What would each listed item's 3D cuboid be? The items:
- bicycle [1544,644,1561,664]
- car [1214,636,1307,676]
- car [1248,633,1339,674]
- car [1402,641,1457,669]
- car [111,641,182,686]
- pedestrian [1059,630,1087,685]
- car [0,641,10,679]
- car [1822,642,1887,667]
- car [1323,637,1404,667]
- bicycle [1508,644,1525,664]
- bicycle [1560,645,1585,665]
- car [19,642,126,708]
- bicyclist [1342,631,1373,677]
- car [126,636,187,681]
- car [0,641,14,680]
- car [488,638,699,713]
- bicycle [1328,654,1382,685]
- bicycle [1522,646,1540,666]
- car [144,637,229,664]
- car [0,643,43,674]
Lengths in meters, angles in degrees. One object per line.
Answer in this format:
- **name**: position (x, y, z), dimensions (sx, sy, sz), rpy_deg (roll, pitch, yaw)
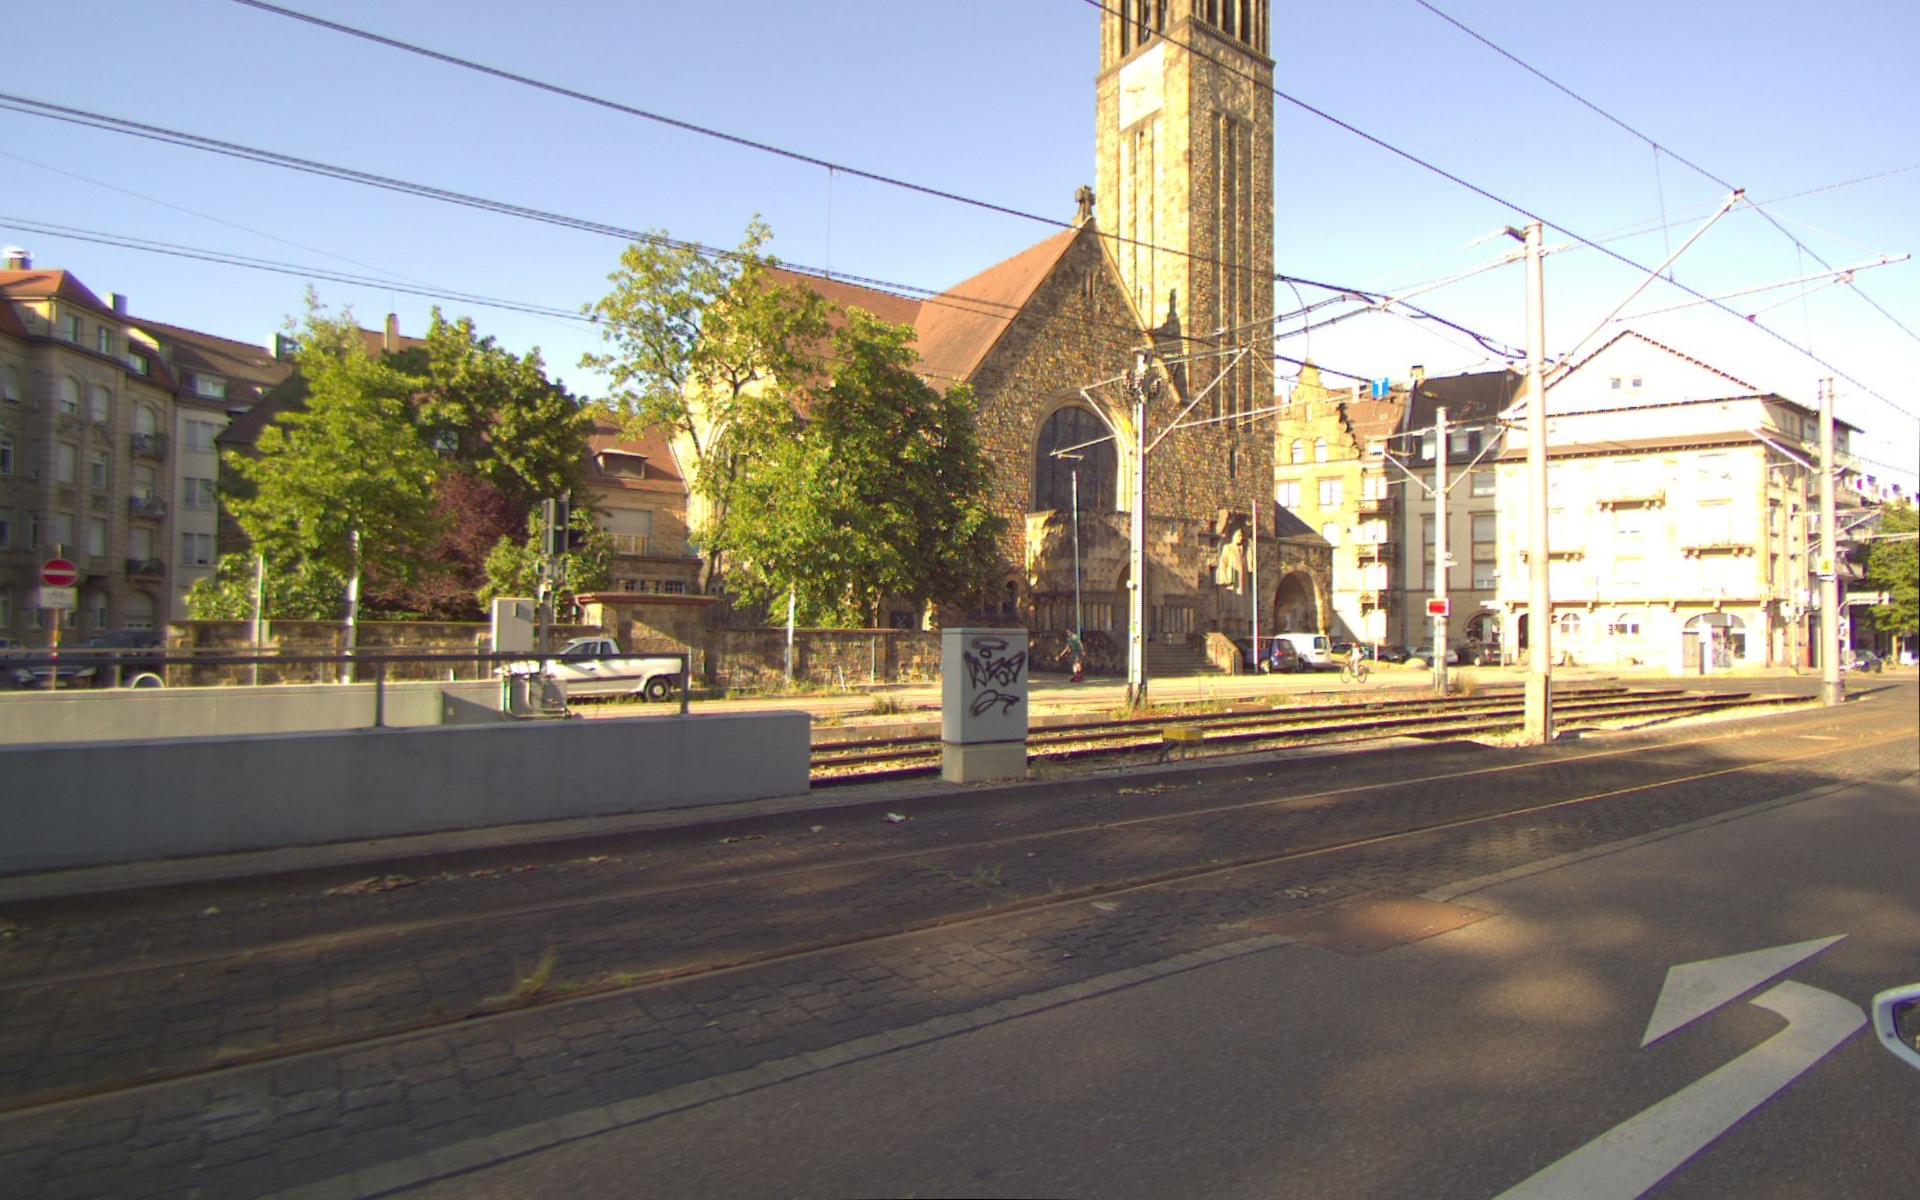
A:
- **bicycle**: position (41.760, 3.826, 70.772), dimensions (0.811, 1.300, 2.556), rpy_deg (2, 0, 36)
- **car**: position (14.155, 2.610, 47.538), dimensions (1.874, 1.651, 3.965), rpy_deg (1, 0, -32)
- **car**: position (16.348, 2.604, 49.397), dimensions (1.874, 1.780, 3.965), rpy_deg (1, 0, -32)
- **car**: position (35.083, 4.068, 75.170), dimensions (1.961, 1.776, 4.598), rpy_deg (1, 0, 0)
- **car**: position (-30.680, 2.371, 37.977), dimensions (1.802, 1.589, 3.960), rpy_deg (1, -3, -36)
- **pedestrian**: position (4.004, 2.040, 35.620), dimensions (0.748, 1.913, 0.602), rpy_deg (1, 0, -32)
- **car**: position (-40.737, 2.498, 41.358), dimensions (1.802, 1.589, 3.960), rpy_deg (1, -3, -36)
- **car**: position (56.814, 3.444, 63.788), dimensions (4.791, 1.468, 1.981), rpy_deg (2, -3, -35)
- **car**: position (27.311, 3.496, 68.027), dimensions (4.848, 1.776, 1.997), rpy_deg (1, 0, 29)
- **bicycle**: position (39.940, 3.843, 72.062), dimensions (0.808, 1.300, 2.563), rpy_deg (1, 0, 24)
- **bicycle**: position (43.034, 3.859, 70.538), dimensions (2.547, 1.300, 0.813), rpy_deg (2, 0, -44)
- **car**: position (-24.652, 2.031, 28.034), dimensions (1.802, 1.673, 3.960), rpy_deg (1, -3, -36)
- **bicyclist**: position (15.346, 2.099, 38.760), dimensions (0.904, 1.745, 0.629), rpy_deg (1, -4, -28)
- **car**: position (-34.559, 2.484, 43.270), dimensions (1.802, 1.821, 3.960), rpy_deg (1, -3, -36)
- **car**: position (-40.963, 2.516, 41.774), dimensions (1.802, 1.589, 3.960), rpy_deg (1, -3, -36)
- **car**: position (-8.694, 1.737, 23.976), dimensions (4.462, 1.576, 1.705), rpy_deg (2, 0, -34)
- **bicycle**: position (15.210, 2.670, 38.647), dimensions (2.251, 1.159, 0.629), rpy_deg (1, -4, -29)
- **bicycle**: position (40.747, 4.008, 71.679), dimensions (0.808, 1.300, 2.563), rpy_deg (1, 0, 24)
- **car**: position (-45.717, 2.993, 59.471), dimensions (1.783, 1.508, 4.002), rpy_deg (0, -3, 2)
- **car**: position (-44.212, 2.693, 46.436), dimensions (1.798, 1.424, 3.970), rpy_deg (1, -3, -29)
